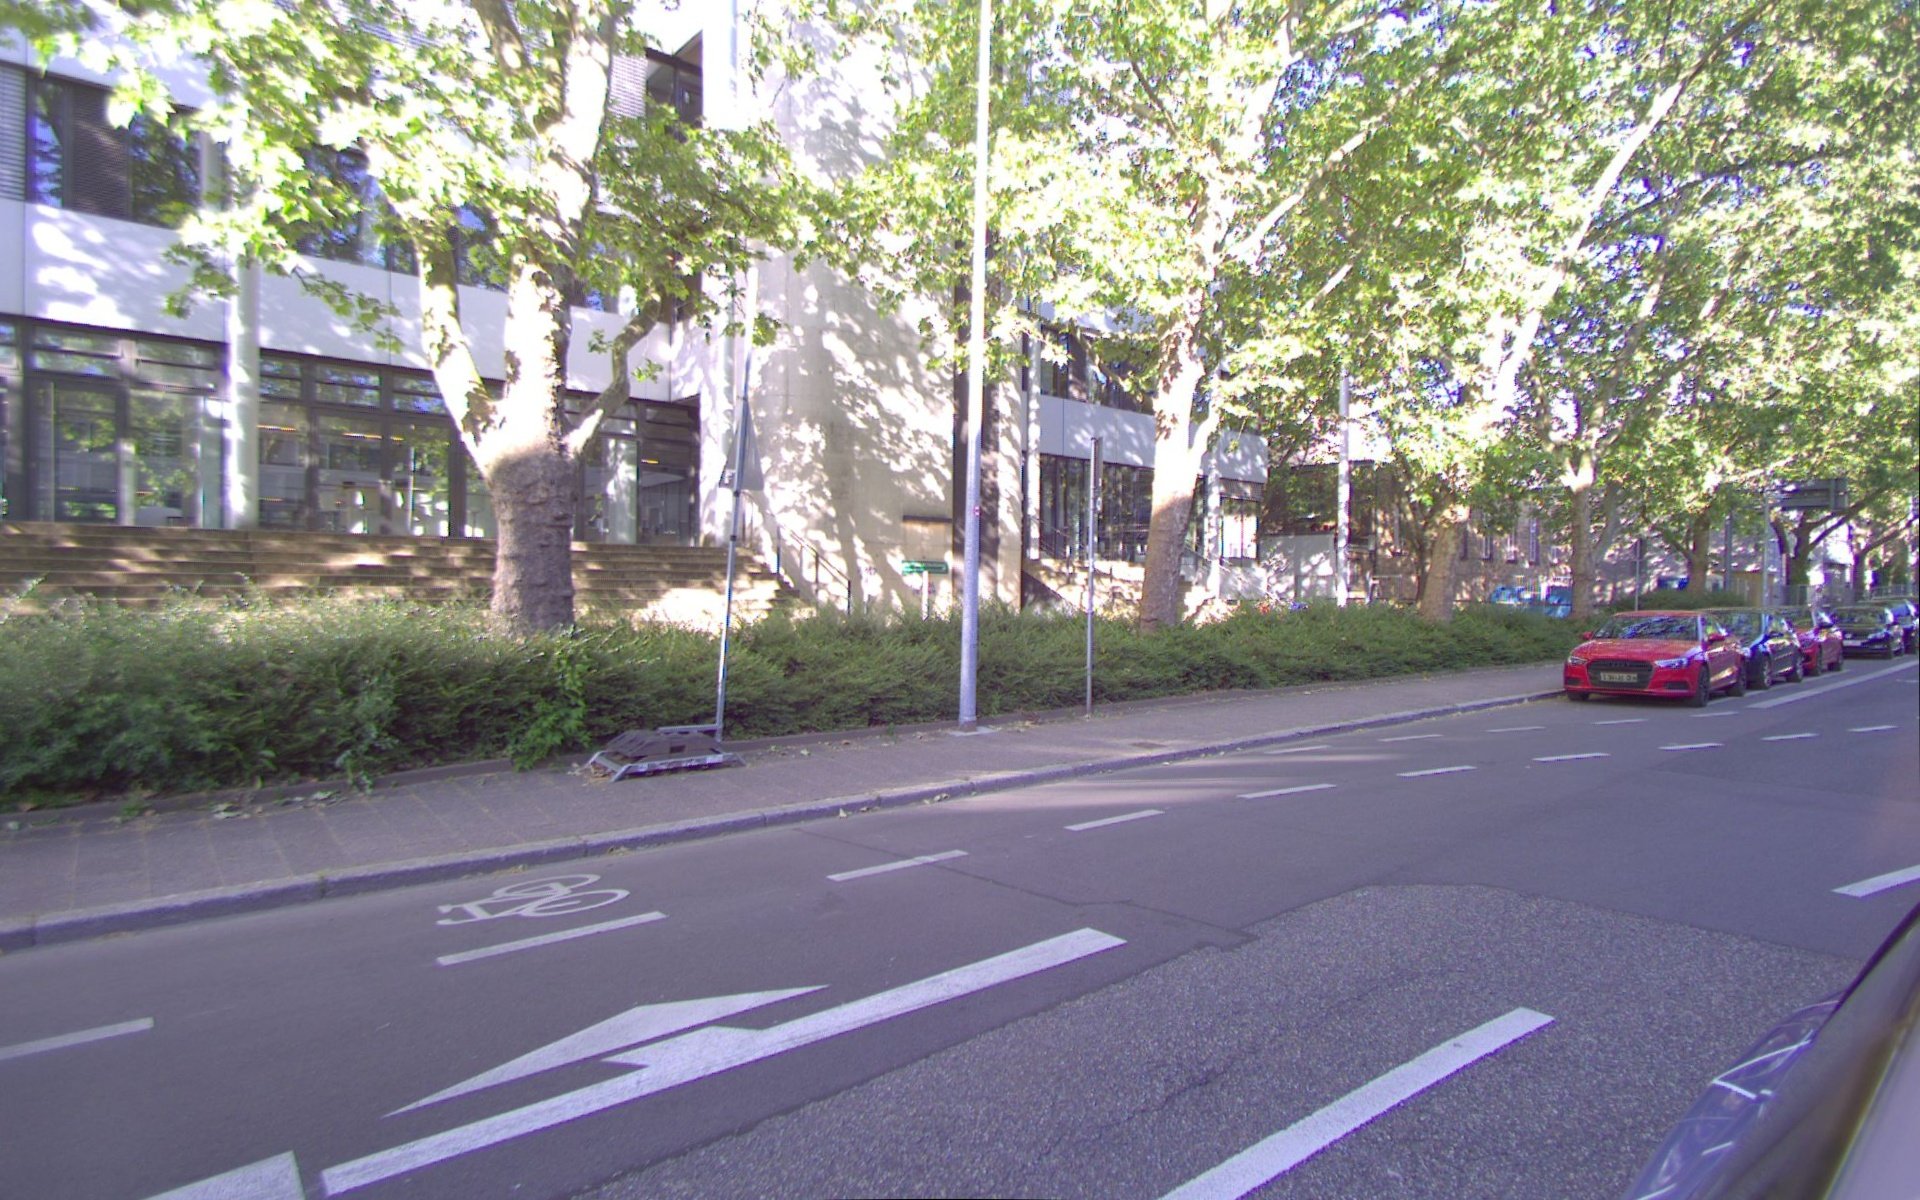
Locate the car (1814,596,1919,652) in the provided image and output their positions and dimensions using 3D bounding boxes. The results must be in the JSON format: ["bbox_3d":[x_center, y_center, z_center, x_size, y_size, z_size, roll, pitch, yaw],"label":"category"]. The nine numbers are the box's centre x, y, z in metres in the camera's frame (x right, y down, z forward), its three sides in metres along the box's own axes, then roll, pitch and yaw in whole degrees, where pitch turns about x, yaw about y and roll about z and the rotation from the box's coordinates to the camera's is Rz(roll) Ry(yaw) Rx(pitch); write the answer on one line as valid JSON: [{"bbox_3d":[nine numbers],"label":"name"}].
[{"bbox_3d":[25.793,0.621,28.621,4.403,1.469,1.865,0,0,-41],"label":"car"}]

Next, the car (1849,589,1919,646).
[{"bbox_3d":[29.572,0.513,31.816,4.403,1.689,1.865,0,0,-41],"label":"car"}]

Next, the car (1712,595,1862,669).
[{"bbox_3d":[18.437,0.637,22.486,4.403,1.469,1.865,0,0,-41],"label":"car"}]

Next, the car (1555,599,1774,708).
[{"bbox_3d":[11.323,0.740,16.148,4.403,1.469,1.865,0,0,-41],"label":"car"}]

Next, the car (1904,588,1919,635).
[{"bbox_3d":[38.875,0.443,39.977,4.403,1.781,1.865,0,0,-41],"label":"car"}]

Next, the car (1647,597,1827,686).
[{"bbox_3d":[14.770,0.693,19.148,4.403,1.469,1.865,0,0,-41],"label":"car"}]

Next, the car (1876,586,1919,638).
[{"bbox_3d":[33.910,0.394,35.707,4.403,1.781,1.865,0,0,-41],"label":"car"}]
